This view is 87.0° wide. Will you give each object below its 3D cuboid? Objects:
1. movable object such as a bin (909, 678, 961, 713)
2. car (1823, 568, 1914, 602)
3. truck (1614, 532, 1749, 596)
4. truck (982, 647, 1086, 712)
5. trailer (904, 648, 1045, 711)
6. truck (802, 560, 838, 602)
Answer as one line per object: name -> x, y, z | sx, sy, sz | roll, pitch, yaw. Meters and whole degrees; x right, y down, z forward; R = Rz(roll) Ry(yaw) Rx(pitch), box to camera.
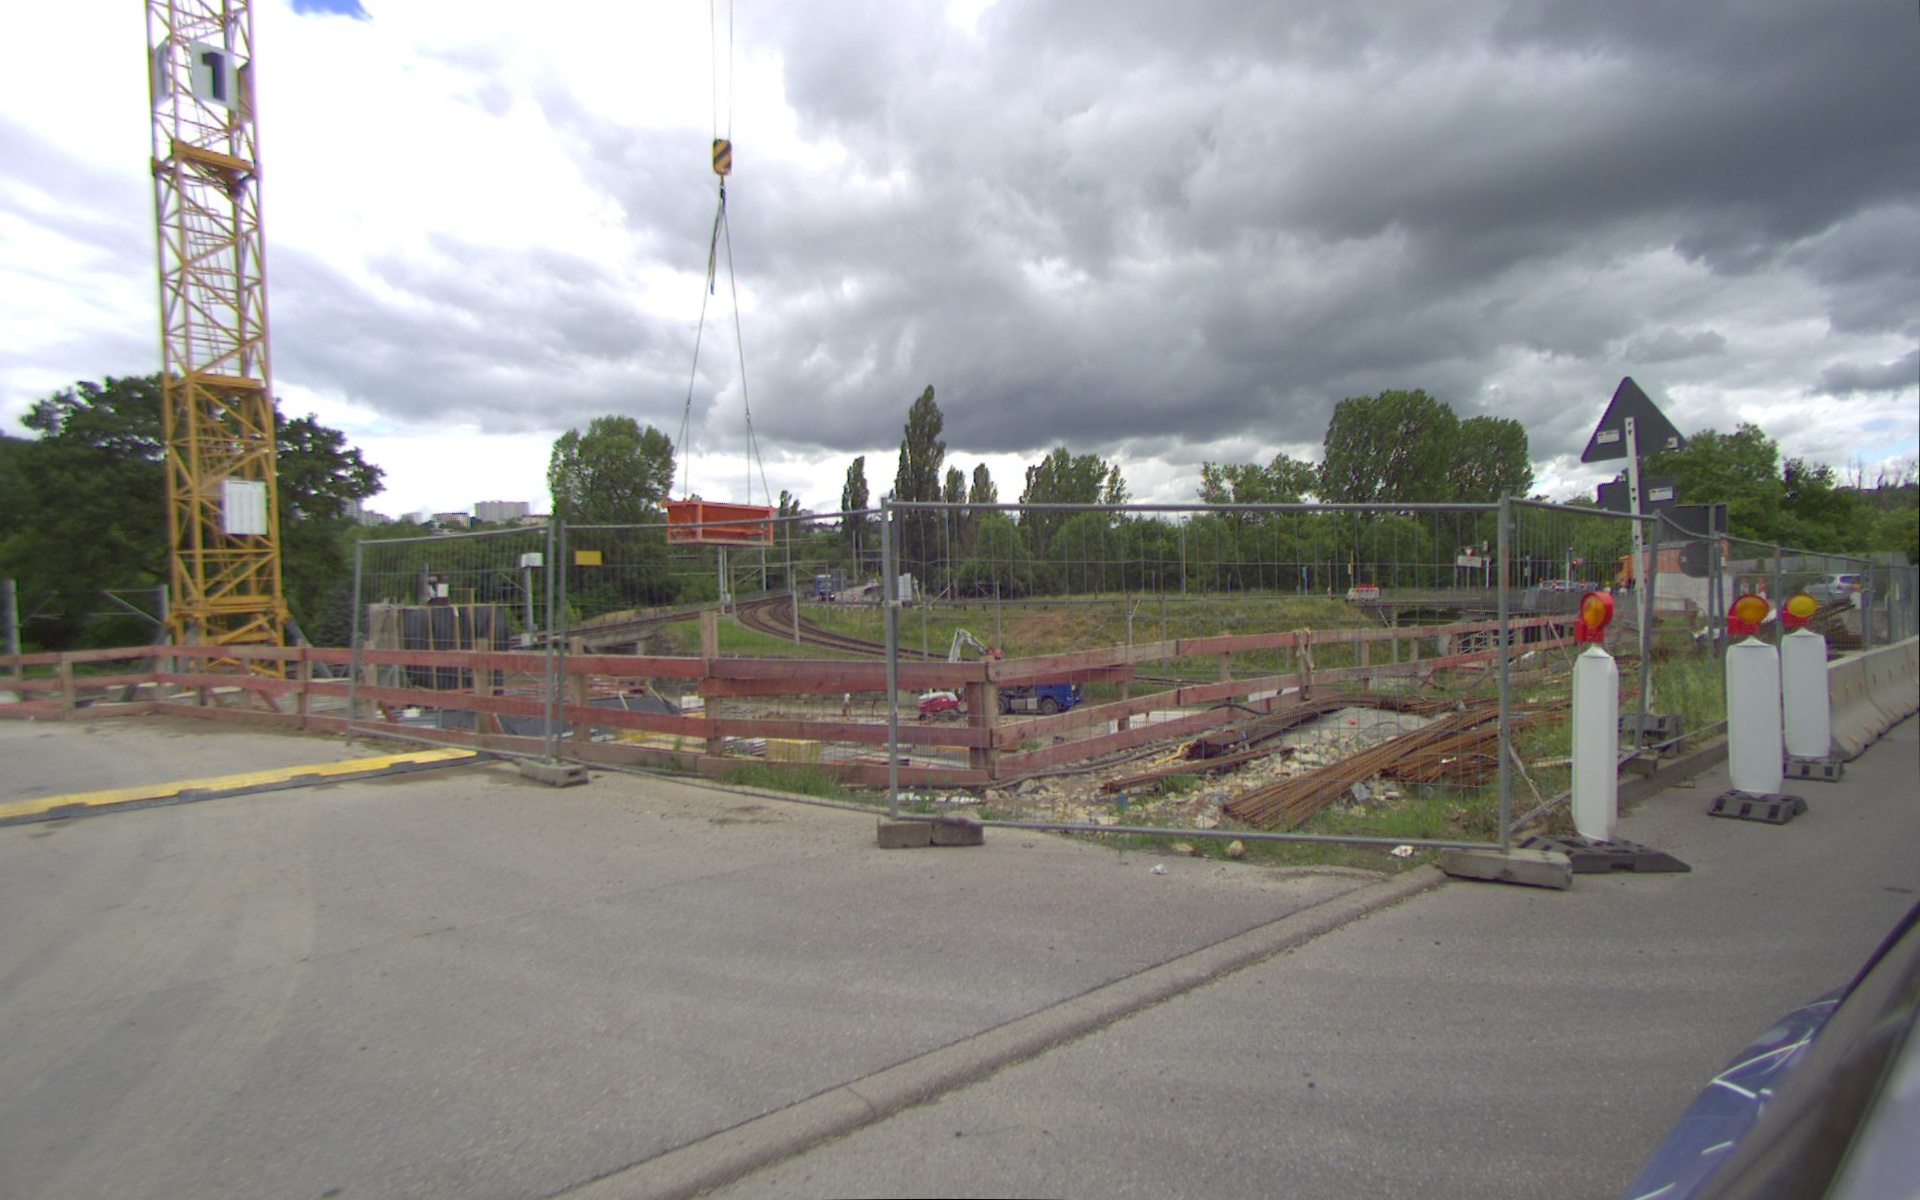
movable object such as a bin -> -1.535, 5.821, 62.120 | 2.402, 1.851, 1.996 | -2, 0, -42
car -> 46.067, -0.760, 51.441 | 1.869, 1.583, 4.077 | -2, 0, 18
truck -> 49.226, -2.336, 69.545 | 2.989, 3.947, 9.985 | -2, 0, 7
truck -> 4.690, 5.030, 64.330 | 6.072, 3.810, 2.396 | -3, -1, 28
trailer -> 0.891, 5.218, 66.344 | 9.053, 3.810, 2.396 | -3, -1, 28
truck -> -18.467, -2.574, 132.756 | 2.880, 3.140, 8.218 | 1, 18, -20
